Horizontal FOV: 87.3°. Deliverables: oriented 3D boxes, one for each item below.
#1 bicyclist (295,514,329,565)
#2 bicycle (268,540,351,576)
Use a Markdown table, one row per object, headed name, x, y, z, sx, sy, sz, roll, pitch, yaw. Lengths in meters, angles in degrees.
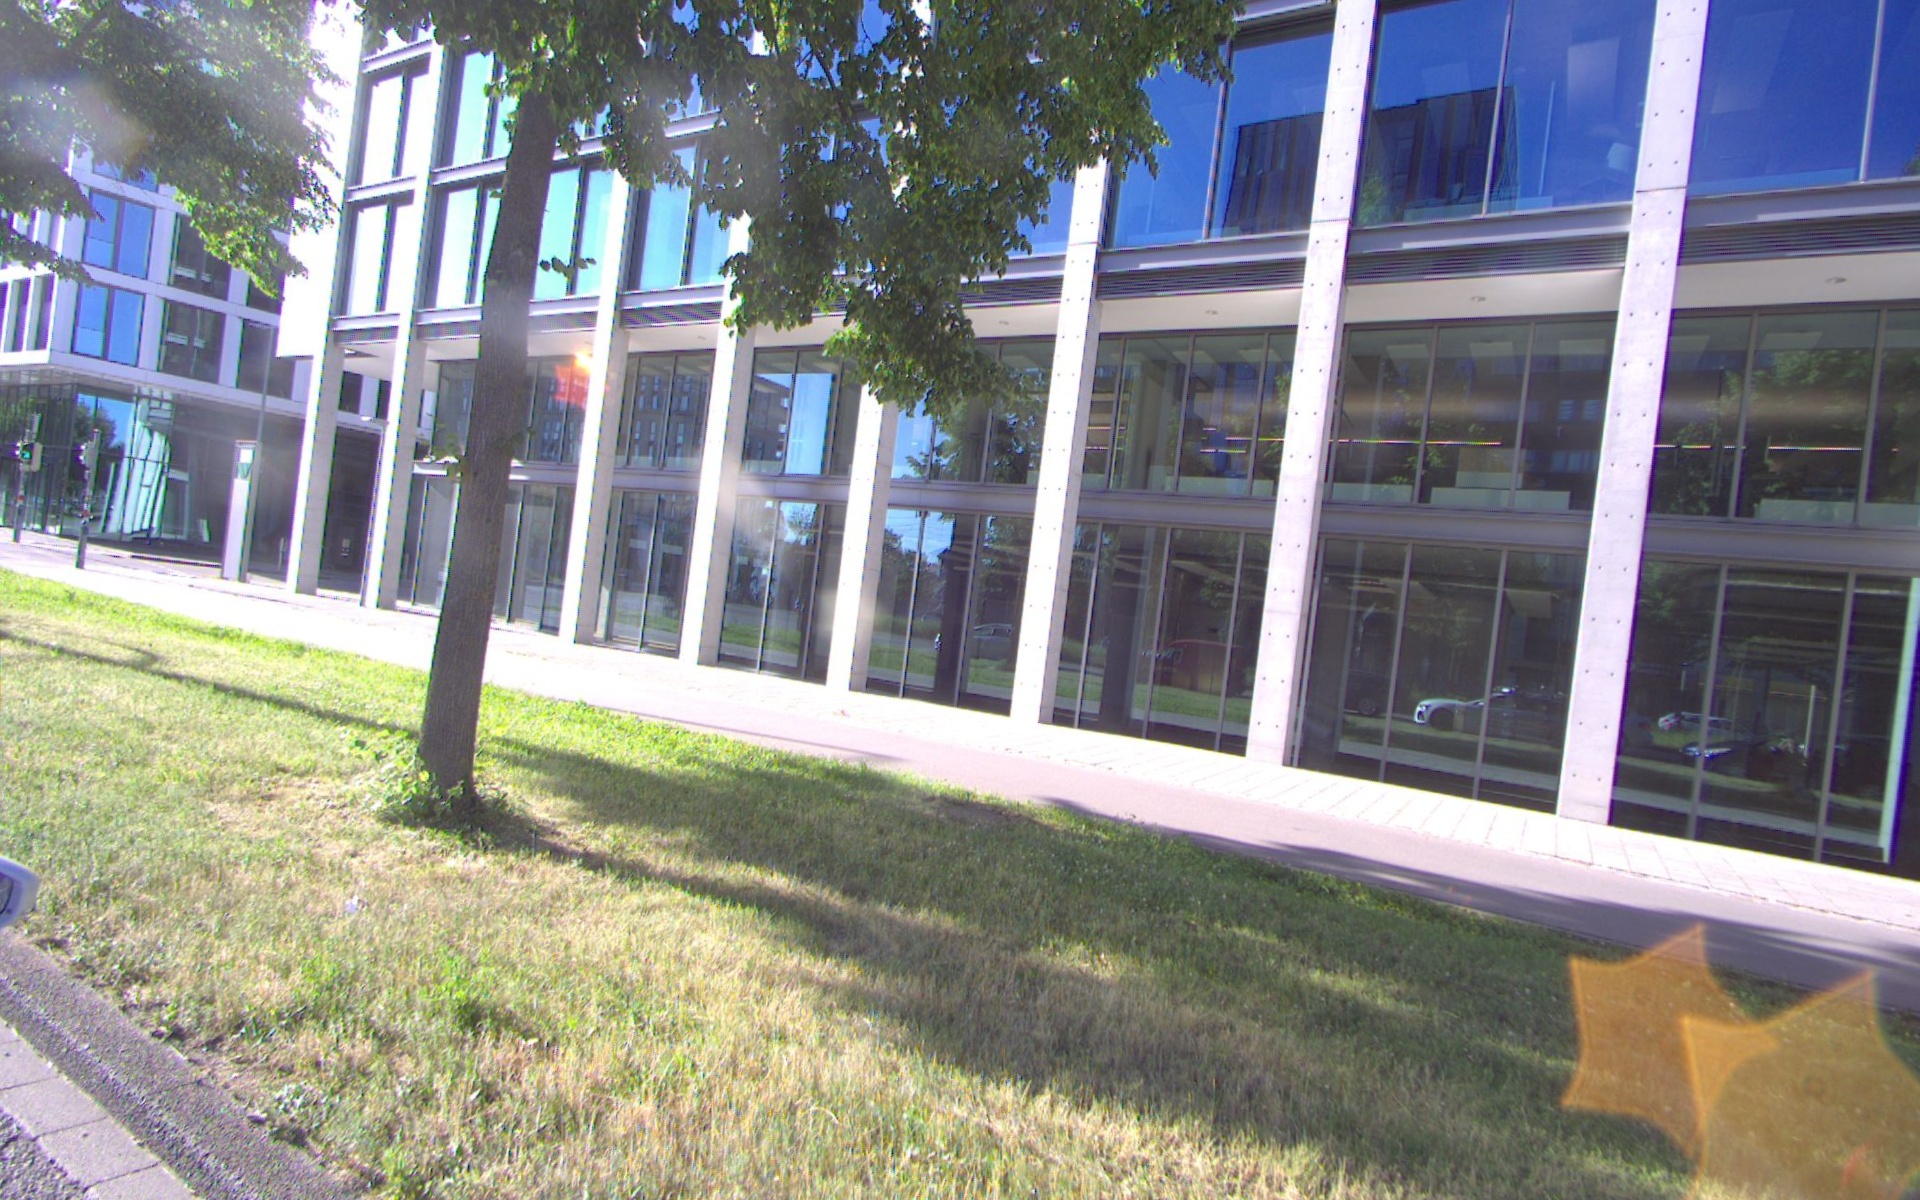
| name | x | y | z | sx | sy | sz | roll | pitch | yaw |
| --- | --- | --- | --- | --- | --- | --- | --- | --- | --- |
| bicyclist | -29.098 | -2.715 | 45.162 | 0.937 | 2.118 | 0.808 | 7 | 0 | -43 |
| bicycle | -29.180 | -1.882 | 45.173 | 2.934 | 1.204 | 0.808 | 8 | -1 | -44 |
